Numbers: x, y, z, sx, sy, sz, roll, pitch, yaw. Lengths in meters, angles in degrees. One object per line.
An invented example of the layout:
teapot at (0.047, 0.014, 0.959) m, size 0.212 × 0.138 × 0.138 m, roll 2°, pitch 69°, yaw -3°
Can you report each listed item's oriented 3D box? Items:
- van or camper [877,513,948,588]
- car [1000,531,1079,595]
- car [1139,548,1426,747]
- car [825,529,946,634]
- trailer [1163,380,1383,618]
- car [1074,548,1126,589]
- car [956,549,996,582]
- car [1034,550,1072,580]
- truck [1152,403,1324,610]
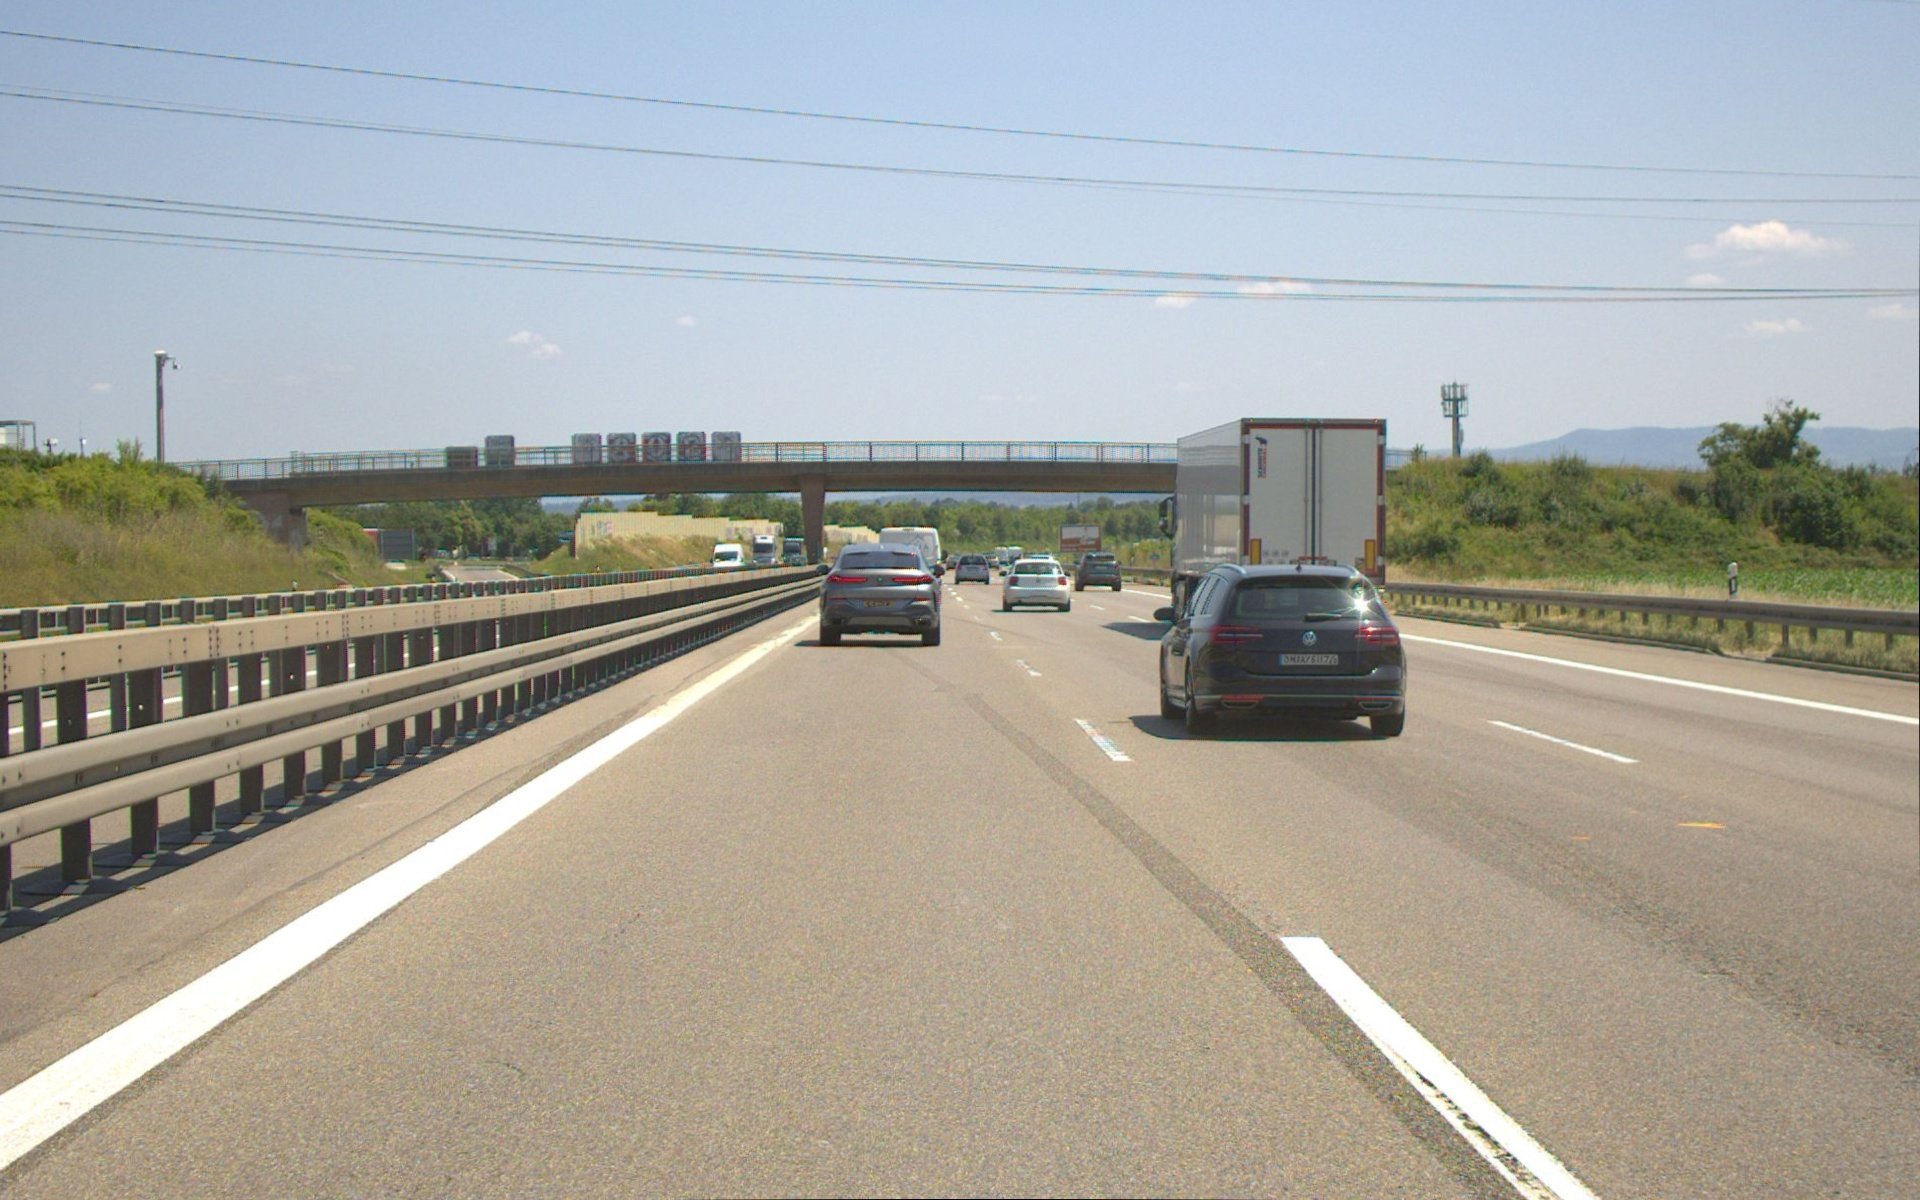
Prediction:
van or camper at (-1.445, -1.511, 105.500) m, size 2.110 × 2.204 × 5.266 m, roll 1°, pitch 1°, yaw 0°
car at (2.119, -0.999, 92.653) m, size 1.993 × 1.677 × 4.000 m, roll 1°, pitch 1°, yaw 0°
car at (2.716, 0.352, 30.039) m, size 1.933 × 1.569 × 4.935 m, roll 1°, pitch 1°, yaw -1°
car at (-1.279, -0.320, 57.226) m, size 1.851 × 1.658 × 3.735 m, roll 1°, pitch 1°, yaw -3°
trailer at (5.958, -1.867, 67.783) m, size 2.943 × 4.184 × 13.597 m, roll 1°, pitch 1°, yaw 0°
car at (5.903, -1.334, 145.725) m, size 1.993 × 1.677 × 4.000 m, roll 1°, pitch 1°, yaw 0°
car at (0.821, -1.826, 180.062) m, size 1.993 × 1.677 × 4.000 m, roll 1°, pitch 1°, yaw 0°
car at (5.350, -2.019, 197.981) m, size 1.993 × 1.677 × 4.000 m, roll 1°, pitch 1°, yaw 0°
truck at (5.918, -1.961, 74.373) m, size 2.979 × 4.213 × 7.687 m, roll 1°, pitch 1°, yaw 0°
